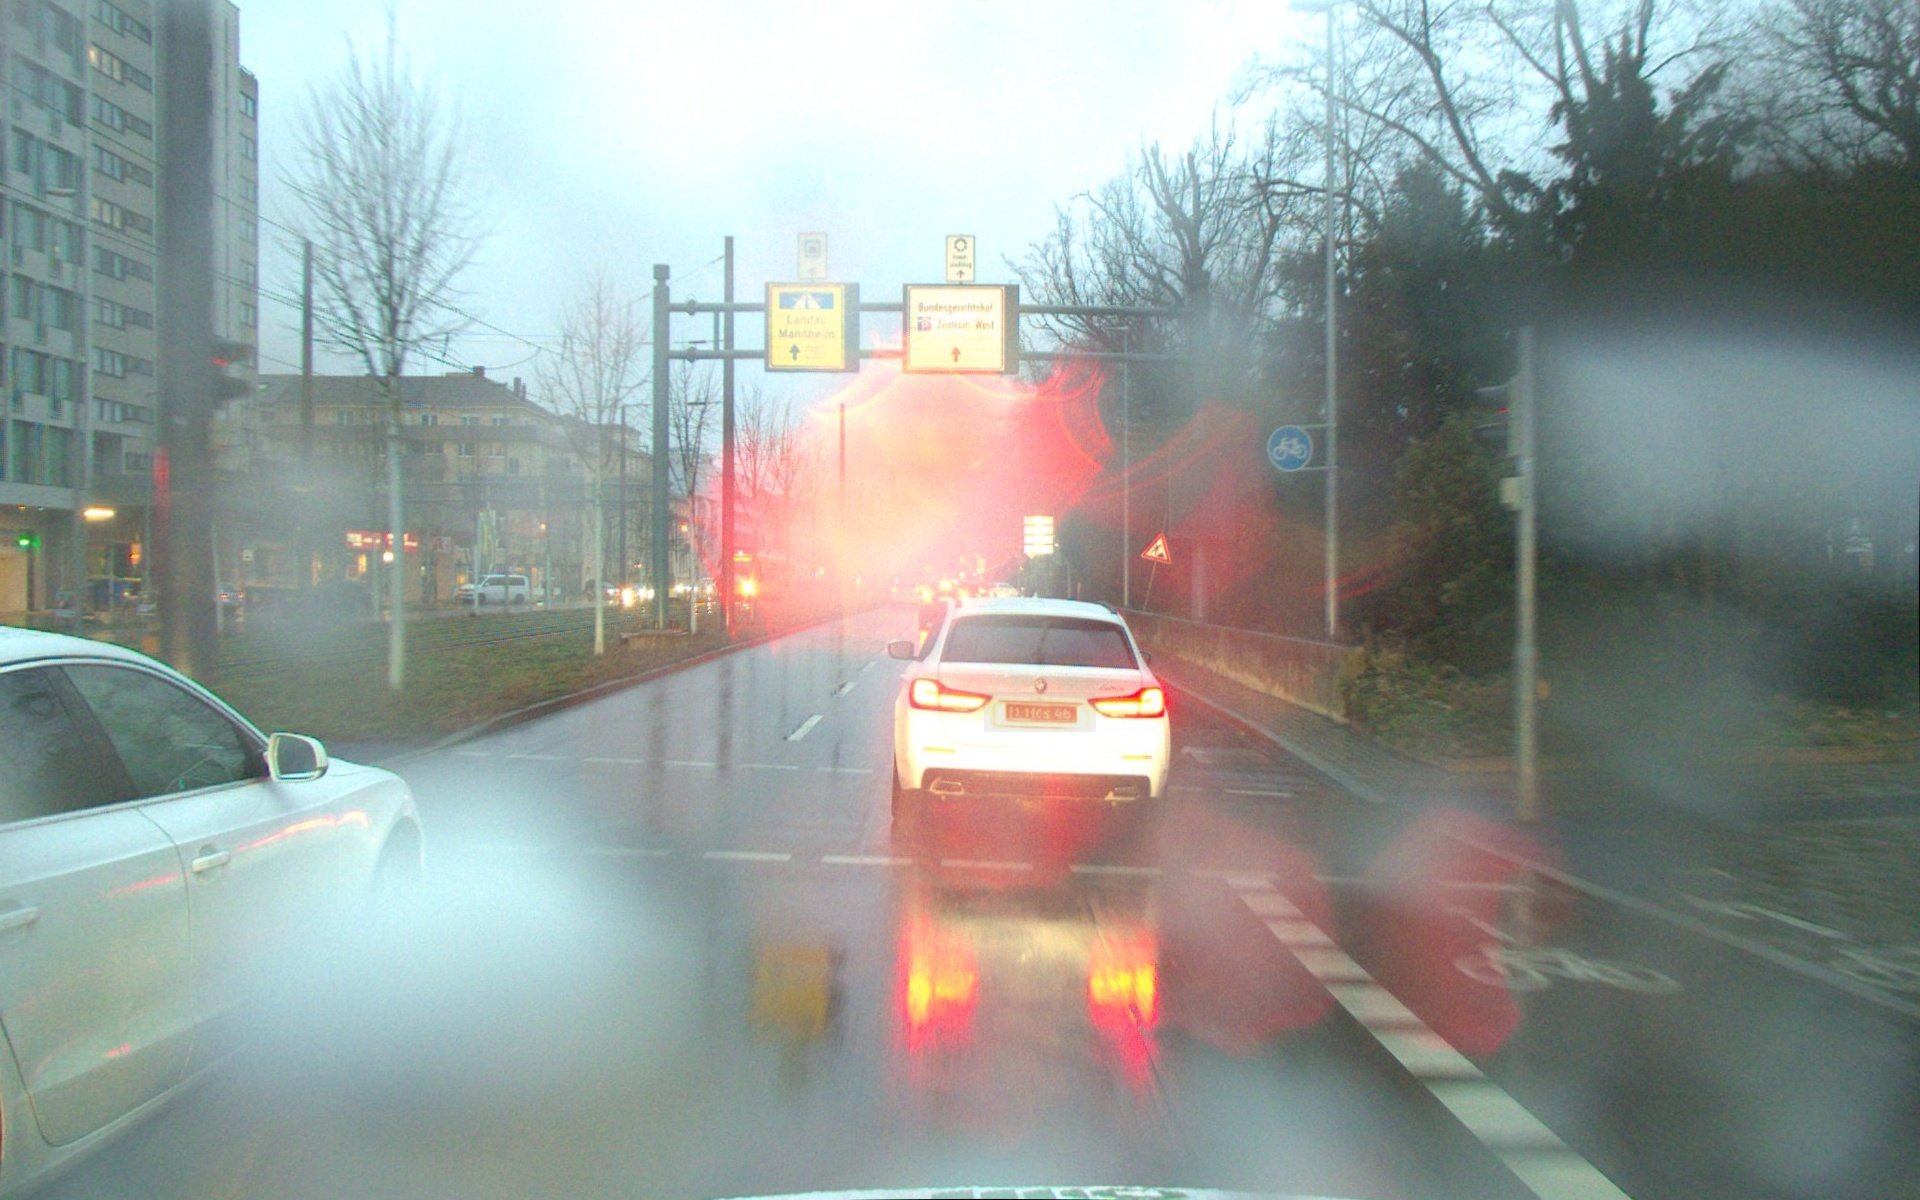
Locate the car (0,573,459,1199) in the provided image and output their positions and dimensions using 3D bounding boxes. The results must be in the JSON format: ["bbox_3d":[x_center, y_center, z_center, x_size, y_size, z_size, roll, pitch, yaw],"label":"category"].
[{"bbox_3d":[-2.682,0.683,3.928,1.724,1.495,4.250,1,0,-1],"label":"car"}]

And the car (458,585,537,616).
[{"bbox_3d":[-31.468,-0.001,112.679,4.842,2.049,1.970,0,1,-42],"label":"car"}]

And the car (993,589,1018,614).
[{"bbox_3d":[3.787,0.092,138.412,1.953,2.049,4.000,1,0,-1],"label":"car"}]

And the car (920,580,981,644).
[{"bbox_3d":[-0.317,0.382,56.477,1.953,2.049,4.000,1,0,-1],"label":"car"}]

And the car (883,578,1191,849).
[{"bbox_3d":[0.367,0.664,11.952,1.725,1.579,4.248,1,0,-4],"label":"car"}]

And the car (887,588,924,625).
[{"bbox_3d":[-3.143,0.332,95.889,1.953,2.049,4.000,1,0,-1],"label":"car"}]
